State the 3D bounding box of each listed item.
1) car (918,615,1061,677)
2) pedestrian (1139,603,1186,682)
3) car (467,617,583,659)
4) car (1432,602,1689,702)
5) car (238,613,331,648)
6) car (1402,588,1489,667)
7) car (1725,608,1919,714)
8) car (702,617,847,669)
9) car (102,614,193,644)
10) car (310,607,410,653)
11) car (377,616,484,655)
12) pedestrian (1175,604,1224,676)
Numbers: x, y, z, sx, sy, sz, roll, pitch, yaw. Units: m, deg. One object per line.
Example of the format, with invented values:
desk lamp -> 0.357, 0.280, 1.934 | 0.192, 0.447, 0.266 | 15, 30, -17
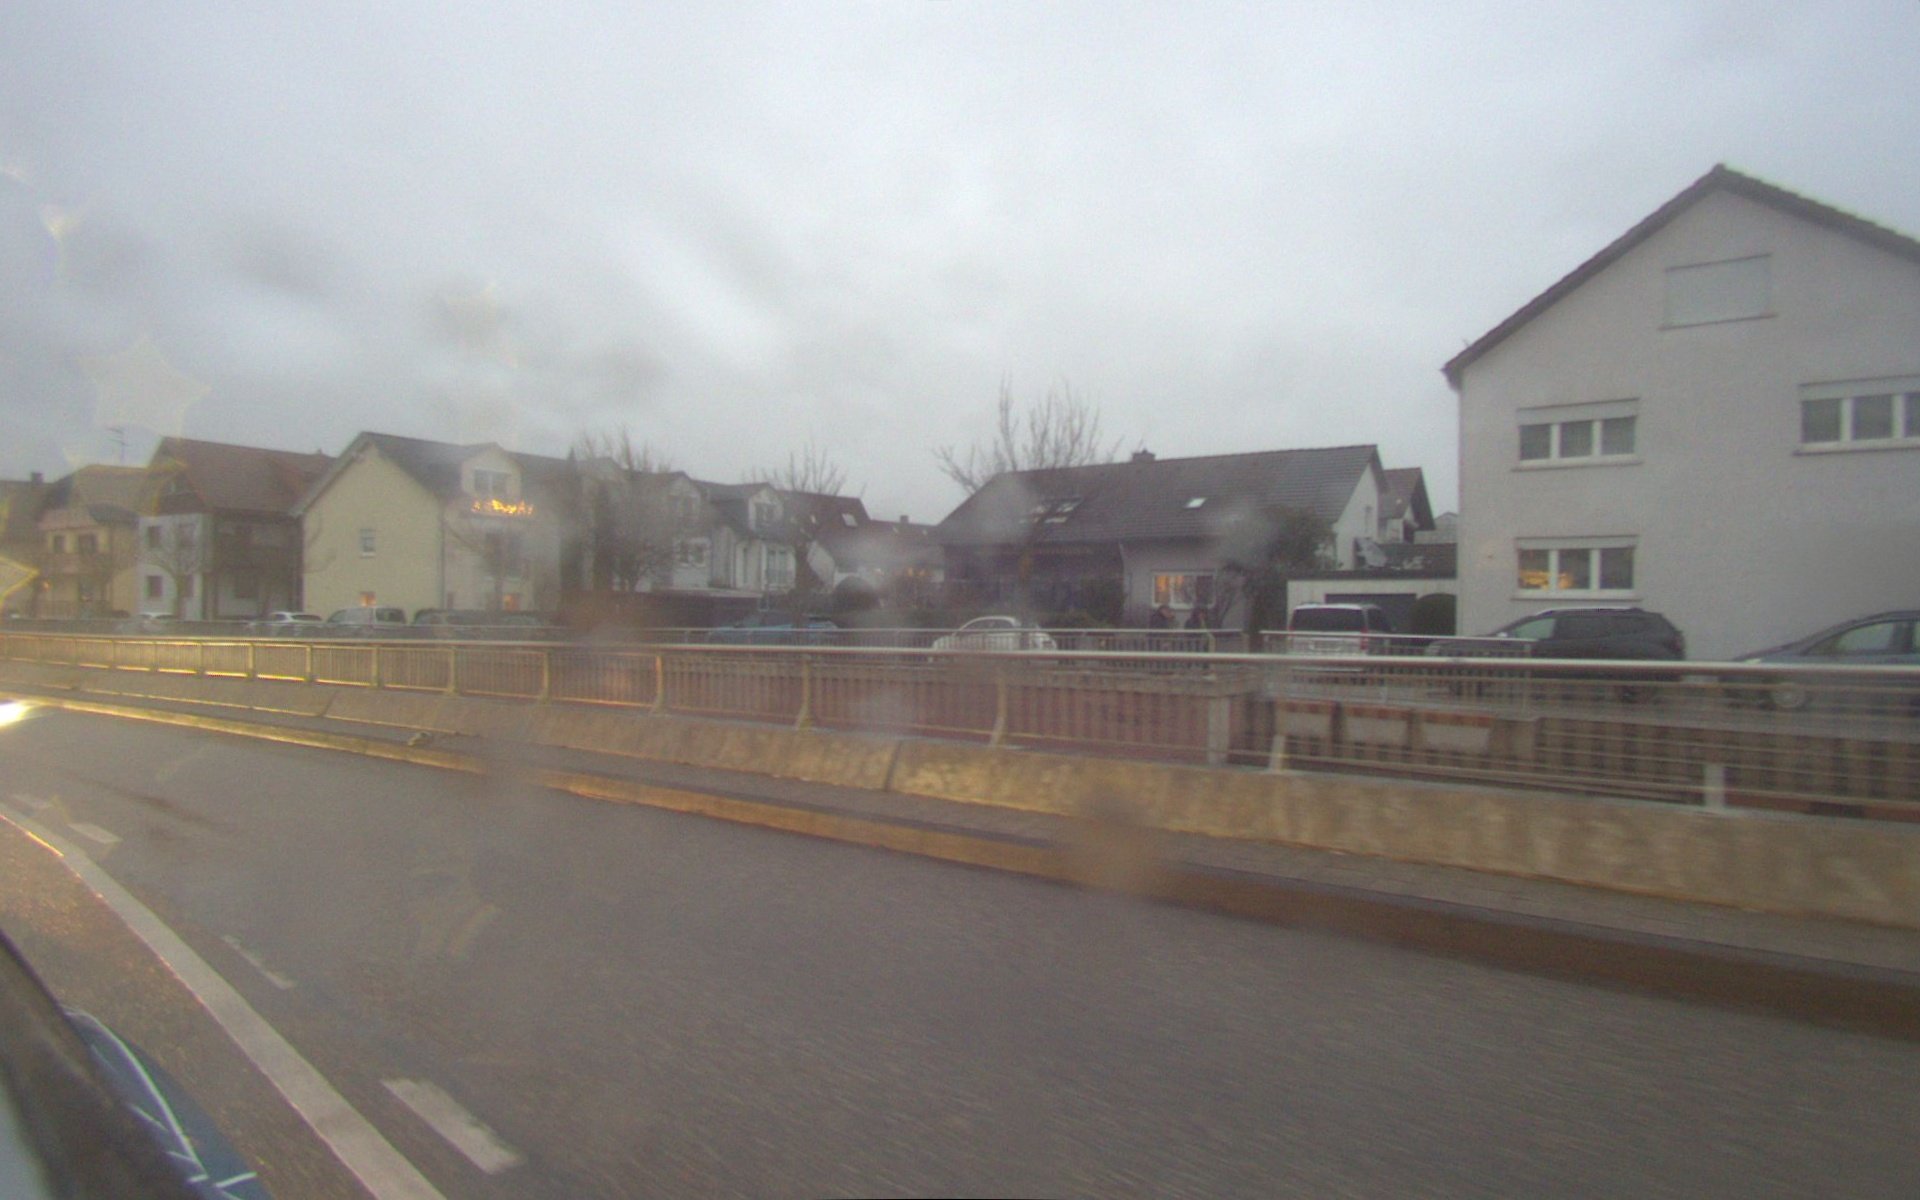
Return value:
car -> 0.738, 1.161, 26.335 | 3.493, 1.520, 1.462 | -1, -1, 33
pedestrian -> 3.449, 0.707, 17.215 | 0.602, 1.312, 0.504 | -1, -1, 39
car -> -16.156, 1.382, 37.575 | 4.240, 1.480, 1.782 | -1, -1, 30
car -> 11.070, 0.890, 18.826 | 3.949, 1.673, 1.685 | -1, 0, 34
car -> -30.215, 1.383, 45.267 | 3.995, 1.480, 1.661 | -1, -3, 26
car -> 13.055, 0.789, 27.110 | 1.468, 1.952, 3.660 | -2, -4, 35
car -> 14.743, 0.927, 16.085 | 4.087, 1.581, 1.758 | -1, 0, 37
car -> -5.677, 1.258, 30.850 | 4.240, 1.480, 1.782 | -1, -1, 30
car -> -40.699, 1.441, 50.697 | 4.591, 1.480, 1.784 | -1, -1, 26
car -> -25.245, 1.228, 42.569 | 4.239, 1.841, 1.782 | -1, -1, 30
car -> -20.986, 1.378, 40.084 | 4.240, 1.480, 1.782 | -1, -1, 30
pedestrian -> 4.285, 0.699, 18.123 | 0.602, 1.259, 0.684 | -1, -1, 39
